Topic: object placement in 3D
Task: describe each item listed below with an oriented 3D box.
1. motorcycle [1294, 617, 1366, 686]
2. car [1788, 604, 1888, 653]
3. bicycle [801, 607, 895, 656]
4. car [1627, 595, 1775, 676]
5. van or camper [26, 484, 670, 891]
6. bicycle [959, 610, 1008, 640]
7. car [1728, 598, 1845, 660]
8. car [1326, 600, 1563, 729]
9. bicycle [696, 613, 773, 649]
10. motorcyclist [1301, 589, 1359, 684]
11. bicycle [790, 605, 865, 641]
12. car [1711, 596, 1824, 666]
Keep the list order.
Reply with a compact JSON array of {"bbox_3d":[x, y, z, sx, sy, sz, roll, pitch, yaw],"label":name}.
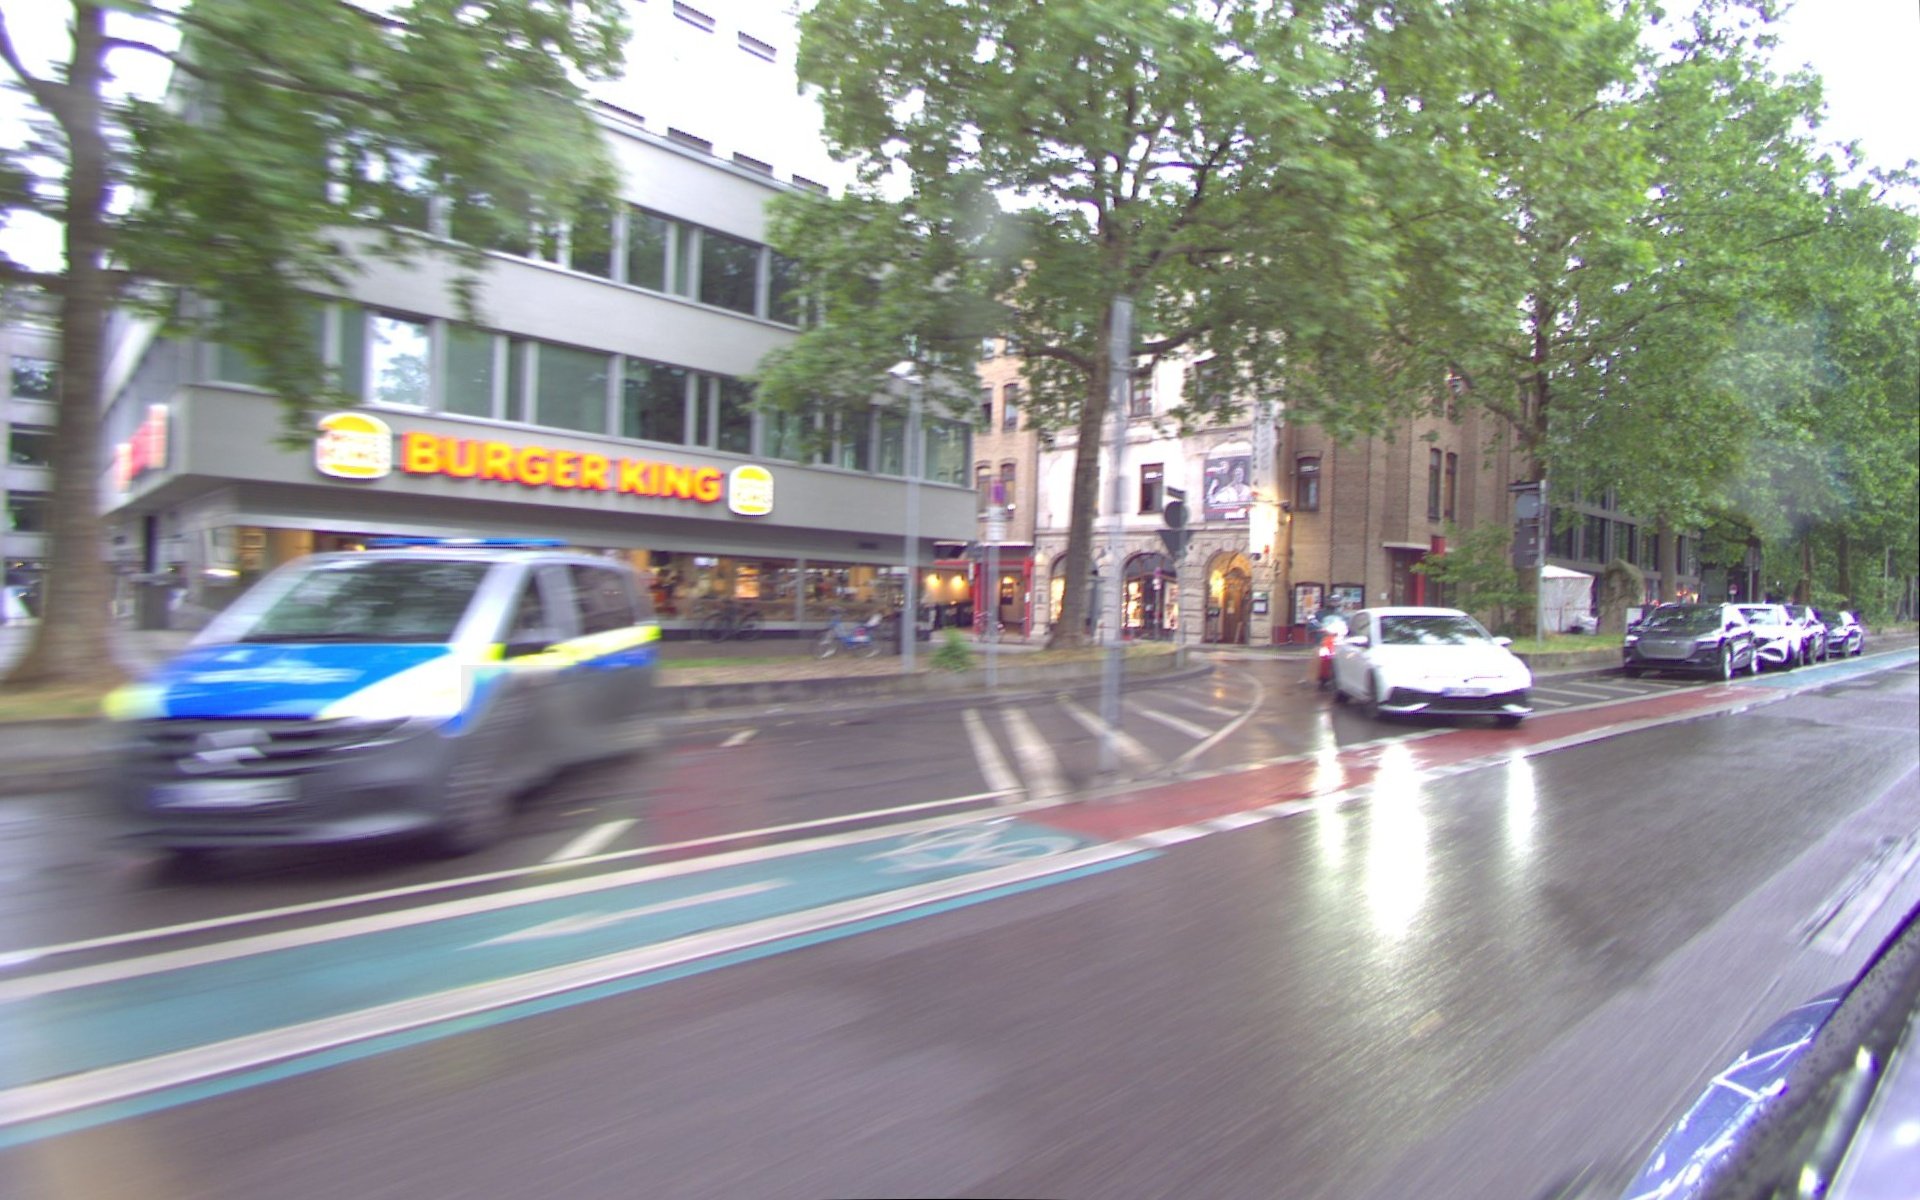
[{"bbox_3d":[6.774,0.903,18.477,0.862,1.157,1.999,0,0,32],"label":"motorcycle"},{"bbox_3d":[28.077,0.849,32.310,4.505,1.451,1.746,0,0,-40],"label":"car"},{"bbox_3d":[-2.331,0.650,21.240,1.879,0.934,0.643,1,4,-39],"label":"bicycle"},{"bbox_3d":[16.420,0.720,22.343,4.348,1.623,1.795,0,-1,-42],"label":"car"},{"bbox_3d":[-3.751,0.432,7.525,1.963,2.017,4.949,0,0,-2],"label":"van or camper"},{"bbox_3d":[0.804,0.844,34.698,0.613,0.949,1.972,1,0,-36],"label":"bicycle"},{"bbox_3d":[23.584,0.772,28.822,4.483,1.609,1.996,0,0,-43],"label":"car"},{"bbox_3d":[6.415,0.743,13.993,1.838,1.463,4.495,0,0,11],"label":"car"},{"bbox_3d":[-5.631,0.755,25.379,0.640,0.829,1.885,1,0,41],"label":"bicycle"},{"bbox_3d":[6.734,0.643,18.395,0.842,1.665,0.861,0,0,32],"label":"motorcyclist"},{"bbox_3d":[-3.533,0.601,27.063,2.042,0.907,0.583,1,0,-44],"label":"bicycle"},{"bbox_3d":[20.275,0.720,25.358,1.752,1.605,4.338,0,-1,45],"label":"car"}]
